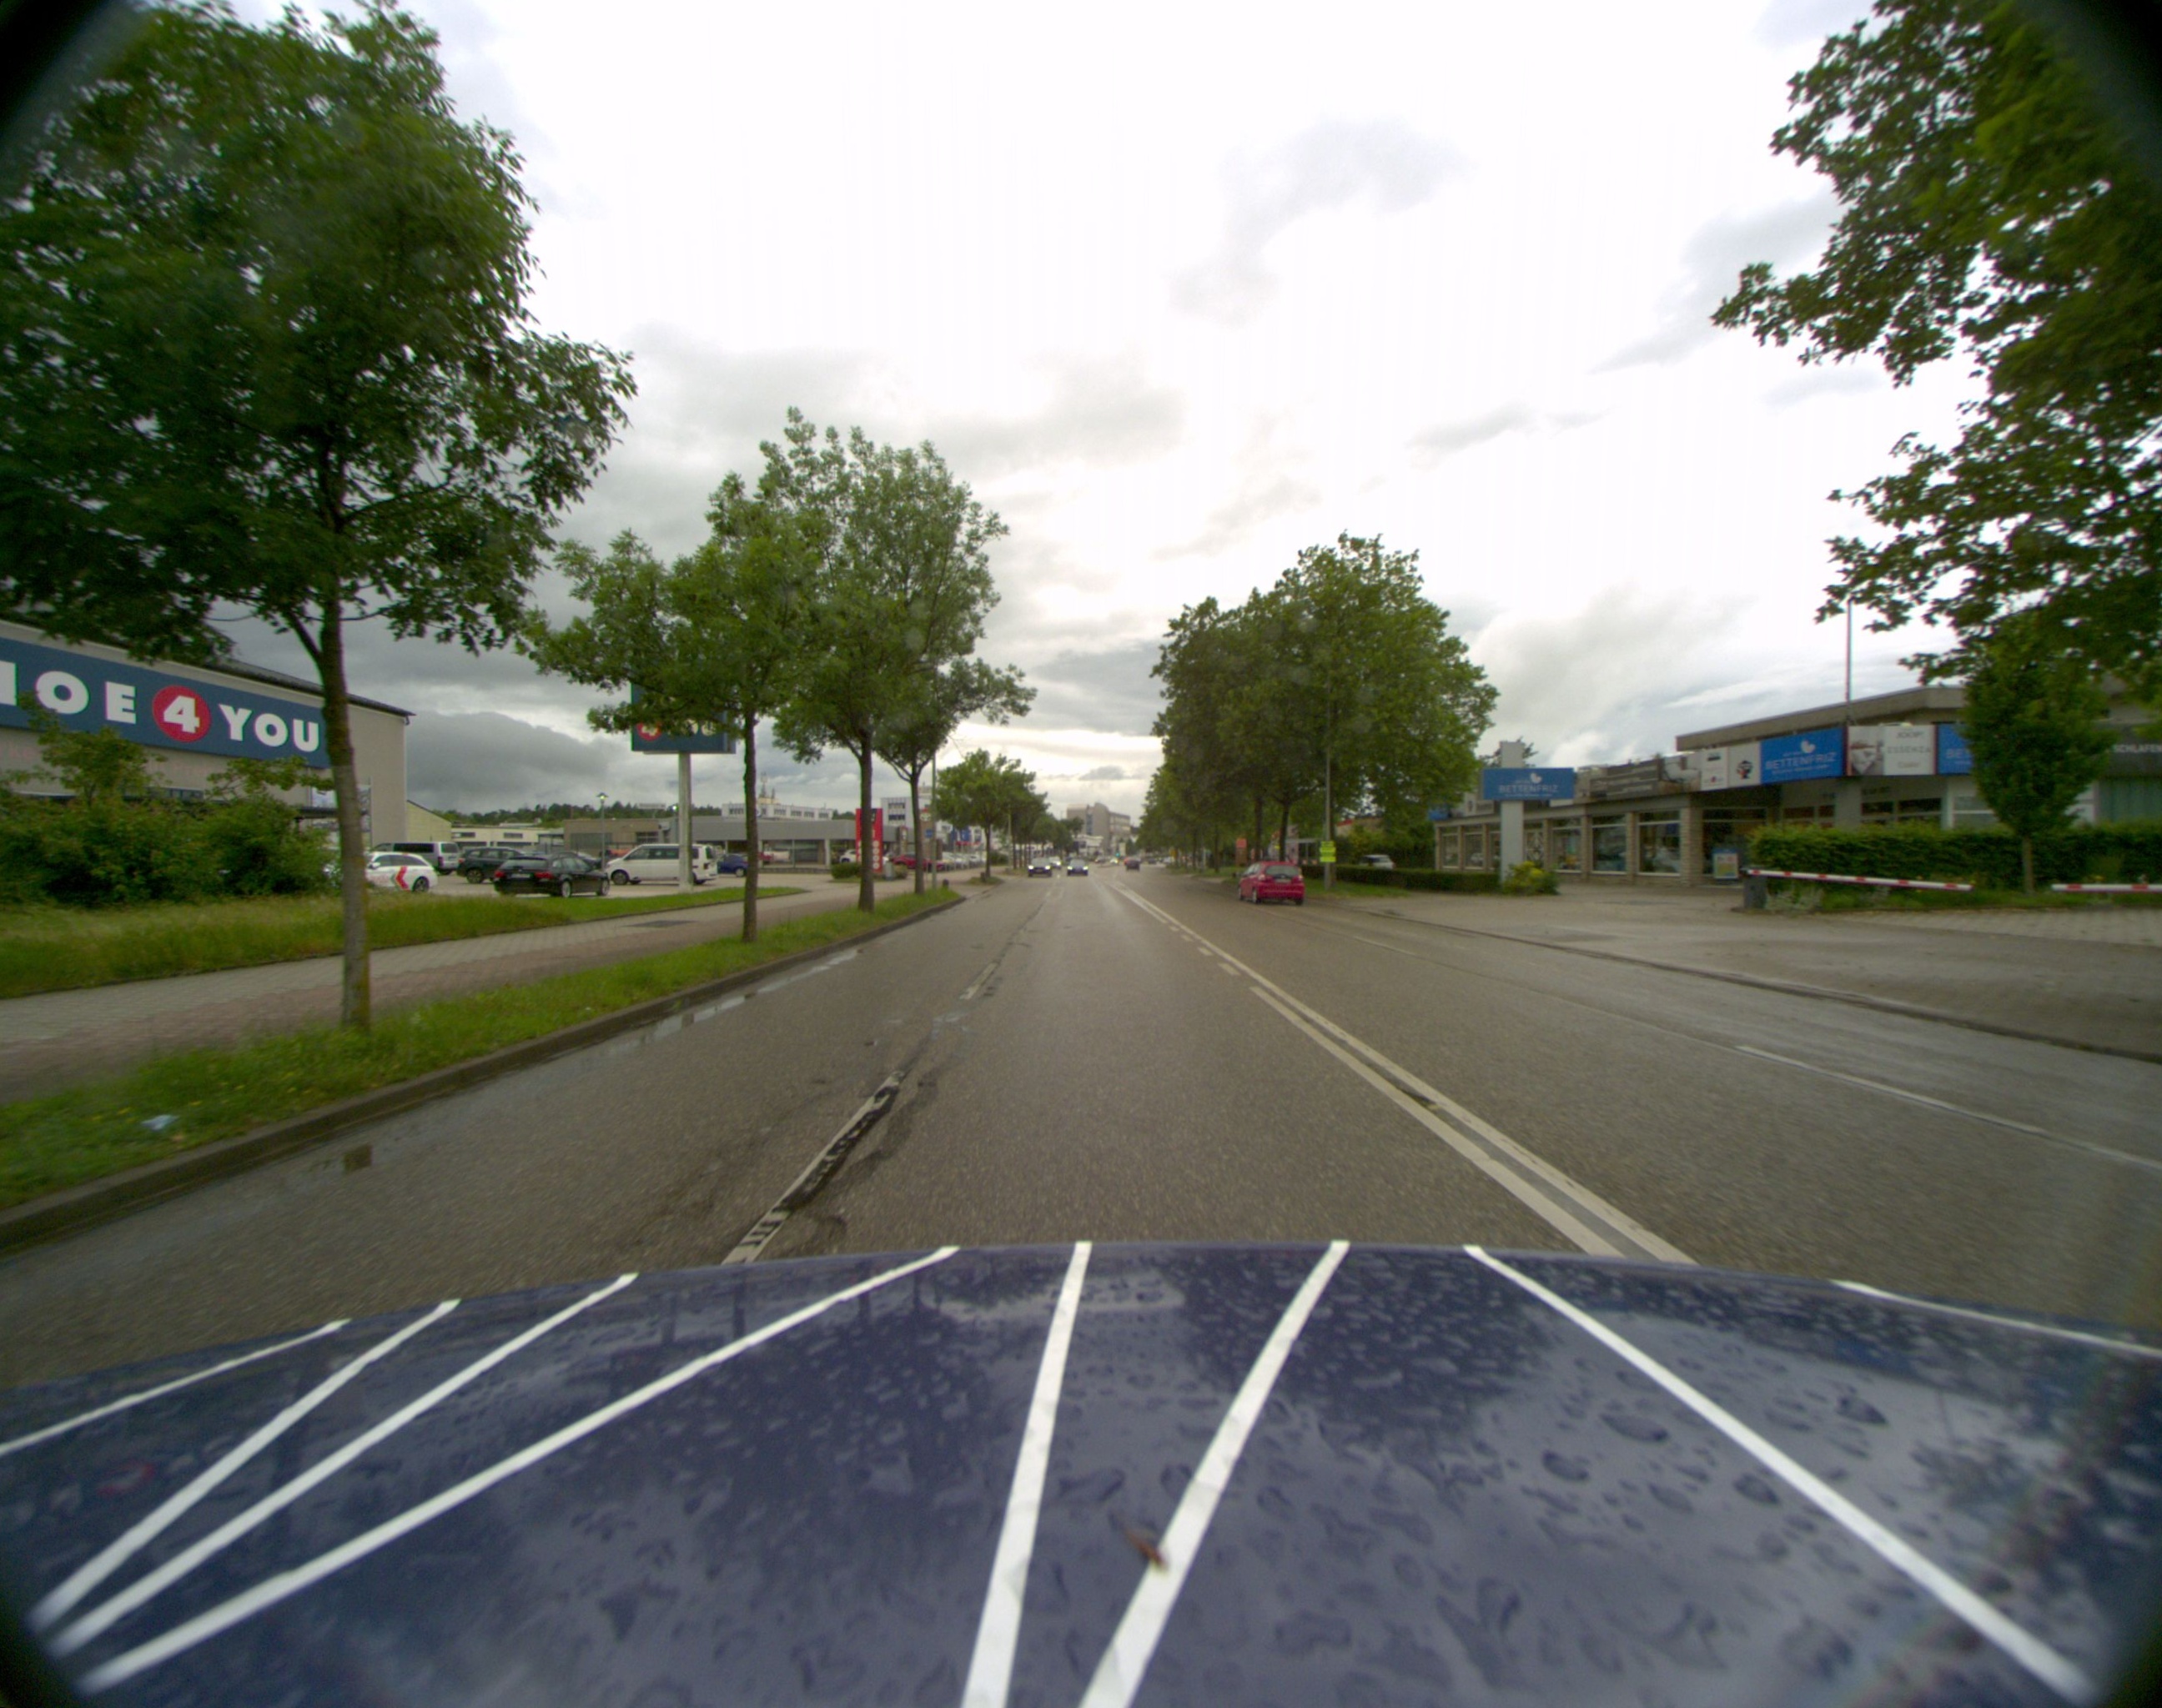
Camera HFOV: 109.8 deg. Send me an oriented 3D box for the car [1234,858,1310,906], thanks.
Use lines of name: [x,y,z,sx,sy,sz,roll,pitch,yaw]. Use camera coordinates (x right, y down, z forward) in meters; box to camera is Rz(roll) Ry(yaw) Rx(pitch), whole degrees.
car: [6.860,0.950,27.709,1.746,1.524,4.000,2,1,1]

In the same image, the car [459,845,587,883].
car: [-26.278,0.471,35.918,4.454,1.752,1.998,1,0,-10]

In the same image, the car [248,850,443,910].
car: [-21.896,0.689,22.942,1.905,1.539,4.523,-2,1,-9]

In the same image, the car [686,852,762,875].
car: [-22.476,0.613,47.968,4.001,1.390,1.675,0,0,-11]

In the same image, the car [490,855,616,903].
car: [-16.992,0.749,24.714,1.755,1.405,4.133,1,0,-9]

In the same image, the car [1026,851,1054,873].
car: [-3.390,0.645,63.821,1.998,1.632,4.360,-2,1,1]

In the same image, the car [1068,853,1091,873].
car: [-0.121,0.801,69.230,1.998,1.632,4.360,-2,1,1]

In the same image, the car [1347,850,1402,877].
car: [17.547,0.544,45.610,1.746,1.524,4.000,2,1,1]

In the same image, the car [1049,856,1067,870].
car: [-2.946,1.159,97.881,1.998,1.632,4.360,-2,1,1]

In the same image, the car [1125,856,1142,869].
car: [6.827,1.057,98.796,1.998,1.632,4.360,0,0,1]

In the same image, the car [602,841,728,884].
car: [-20.015,0.412,36.817,4.966,2.002,1.998,1,0,-12]
